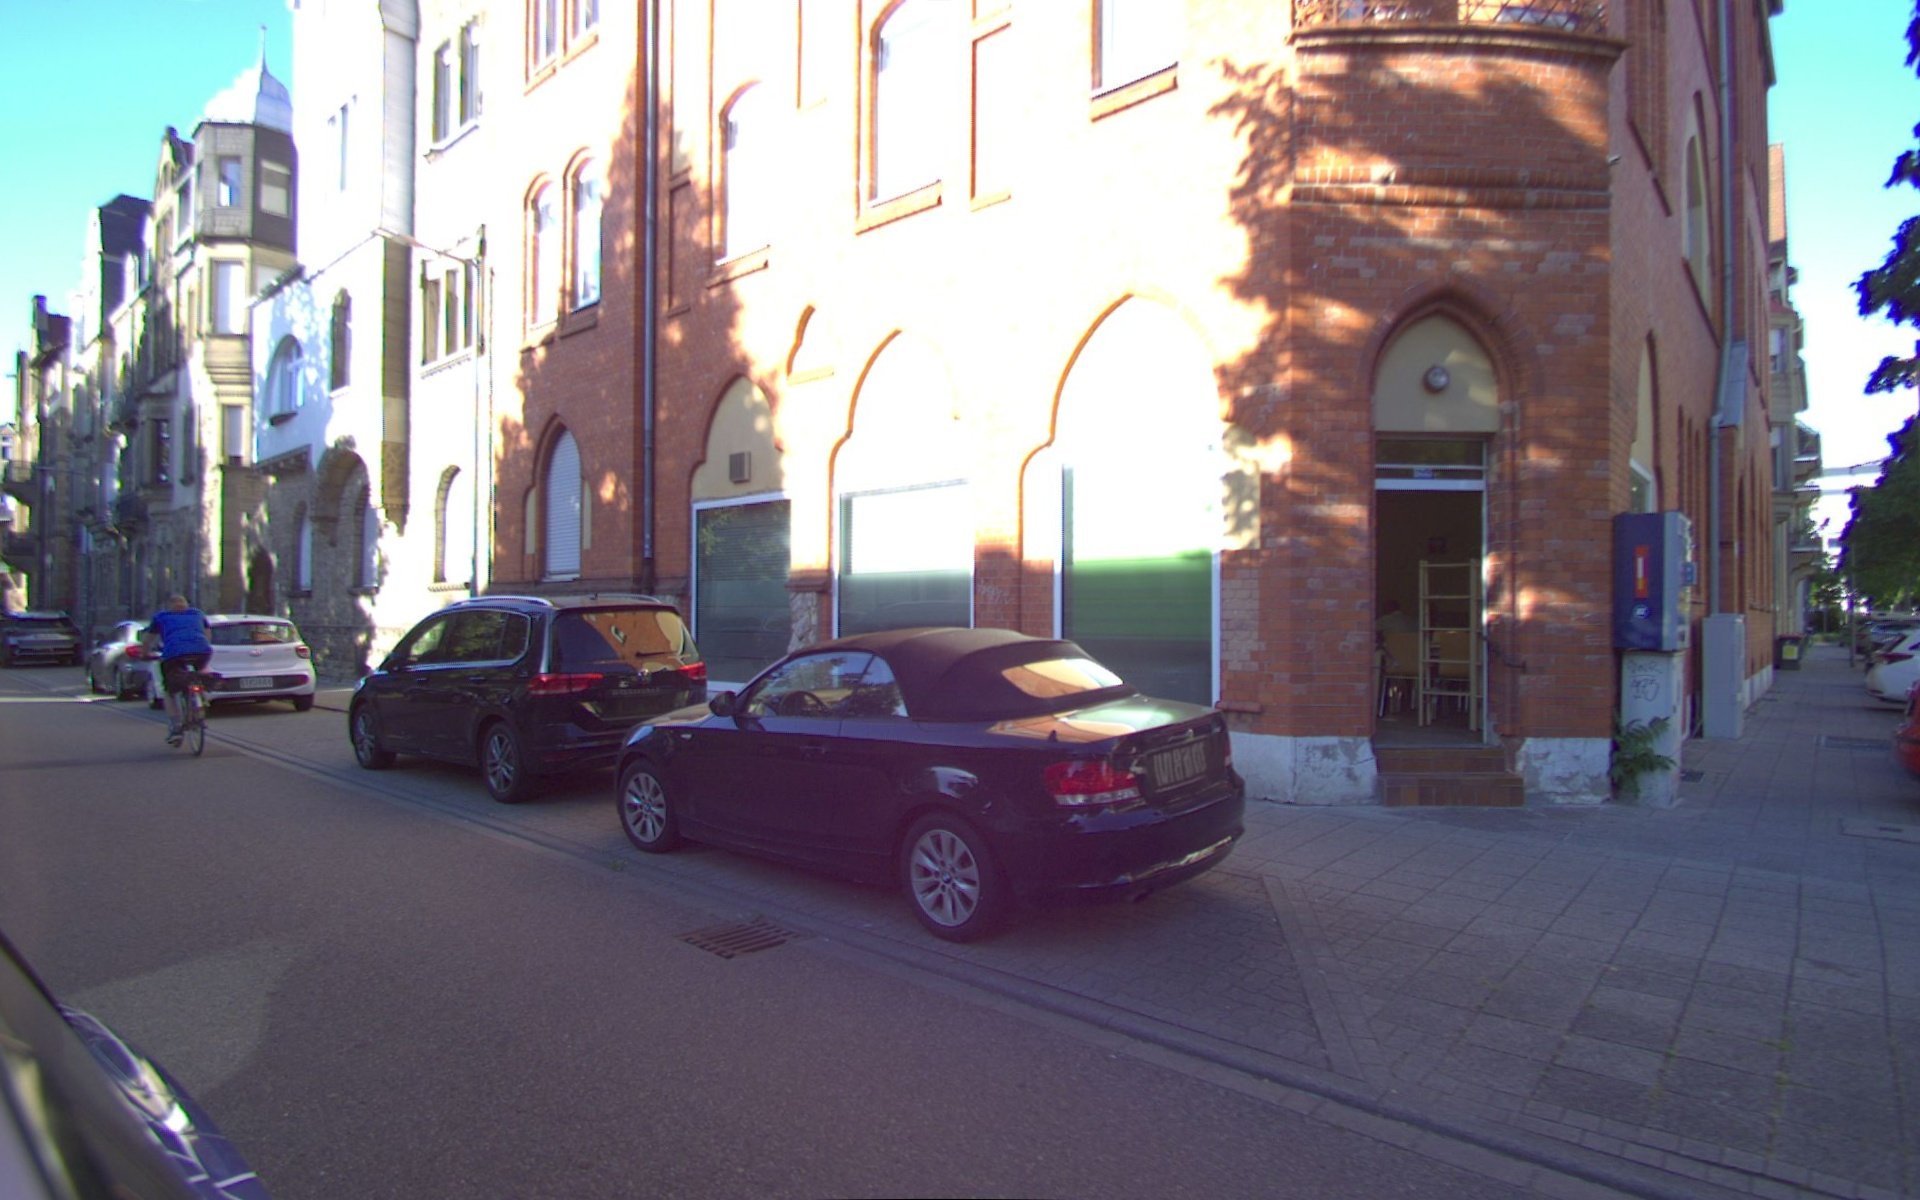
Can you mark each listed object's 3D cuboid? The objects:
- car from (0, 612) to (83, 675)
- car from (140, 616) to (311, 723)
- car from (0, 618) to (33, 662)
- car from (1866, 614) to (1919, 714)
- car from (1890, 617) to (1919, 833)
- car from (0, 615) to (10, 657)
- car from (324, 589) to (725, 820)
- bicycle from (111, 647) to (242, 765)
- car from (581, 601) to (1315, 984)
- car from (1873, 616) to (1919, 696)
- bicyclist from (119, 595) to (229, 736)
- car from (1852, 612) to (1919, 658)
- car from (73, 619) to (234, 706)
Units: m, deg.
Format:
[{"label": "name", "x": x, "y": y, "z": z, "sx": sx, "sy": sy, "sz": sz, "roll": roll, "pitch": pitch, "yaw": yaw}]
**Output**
[{"label": "car", "x": -27.619, "y": 1.251, "z": 30.028, "sx": 4.337, "sy": 1.730, "sz": 1.856, "roll": -1, "pitch": -1, "yaw": 41}, {"label": "car", "x": -11.707, "y": 1.021, "z": 16.050, "sx": 3.591, "sy": 1.481, "sz": 1.549, "roll": -2, "pitch": -1, "yaw": 43}, {"label": "car", "x": -36.285, "y": 1.473, "z": 37.965, "sx": 4.210, "sy": 1.512, "sz": 1.751, "roll": 1, "pitch": -1, "yaw": 41}, {"label": "car", "x": 16.672, "y": 0.999, "z": 15.431, "sx": 4.211, "sy": 1.562, "sz": 1.695, "roll": -1, "pitch": -2, "yaw": 41}, {"label": "car", "x": 8.863, "y": 0.864, "z": 6.158, "sx": 4.656, "sy": 1.480, "sz": 1.618, "roll": -1, "pitch": 0, "yaw": 42}, {"label": "car", "x": -41.250, "y": 1.480, "z": 42.351, "sx": 4.210, "sy": 1.680, "sz": 1.751, "roll": 0, "pitch": 0, "yaw": 41}, {"label": "car", "x": -4.220, "y": 0.776, "z": 9.462, "sx": 4.346, "sy": 1.693, "sz": 1.652, "roll": -1, "pitch": 0, "yaw": 40}, {"label": "bicycle", "x": -8.566, "y": 1.101, "z": 11.038, "sx": 1.906, "sy": 1.116, "sz": 0.750, "roll": 0, "pitch": -2, "yaw": 41}, {"label": "car", "x": -0.368, "y": 0.756, "z": 5.931, "sx": 4.332, "sy": 1.421, "sz": 1.618, "roll": -1, "pitch": 1, "yaw": 42}, {"label": "car", "x": 20.245, "y": 1.078, "z": 19.255, "sx": 4.211, "sy": 1.562, "sz": 1.695, "roll": -1, "pitch": -2, "yaw": 42}, {"label": "bicyclist", "x": -8.618, "y": 0.687, "z": 11.099, "sx": 0.948, "sy": 1.465, "sz": 0.751, "roll": 0, "pitch": -2, "yaw": 41}, {"label": "car", "x": 36.598, "y": 1.340, "z": 38.283, "sx": 4.209, "sy": 1.713, "sz": 1.695, "roll": -1, "pitch": -2, "yaw": 40}, {"label": "car", "x": -15.526, "y": 1.132, "z": 19.410, "sx": 4.108, "sy": 1.453, "sz": 1.659, "roll": -2, "pitch": -1, "yaw": 40}]
